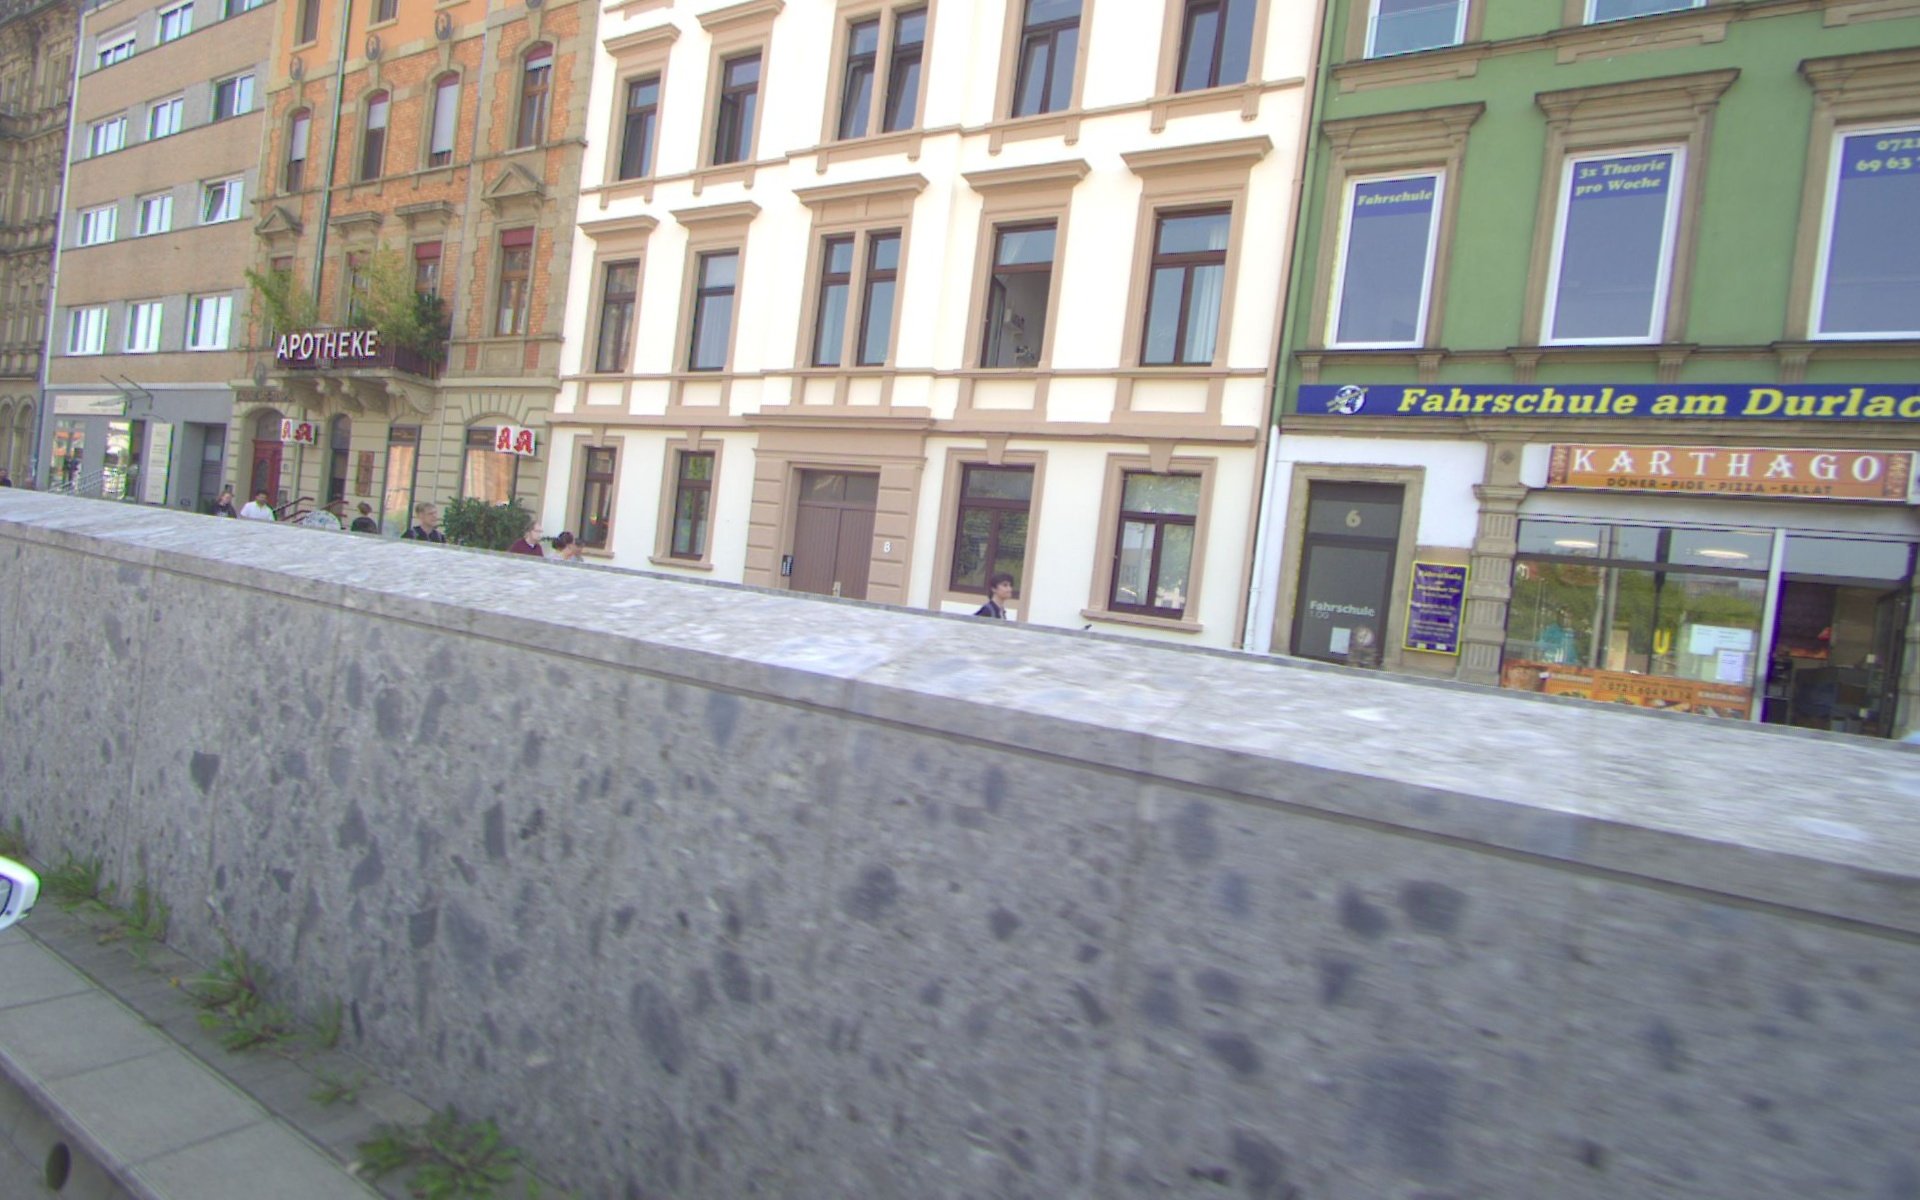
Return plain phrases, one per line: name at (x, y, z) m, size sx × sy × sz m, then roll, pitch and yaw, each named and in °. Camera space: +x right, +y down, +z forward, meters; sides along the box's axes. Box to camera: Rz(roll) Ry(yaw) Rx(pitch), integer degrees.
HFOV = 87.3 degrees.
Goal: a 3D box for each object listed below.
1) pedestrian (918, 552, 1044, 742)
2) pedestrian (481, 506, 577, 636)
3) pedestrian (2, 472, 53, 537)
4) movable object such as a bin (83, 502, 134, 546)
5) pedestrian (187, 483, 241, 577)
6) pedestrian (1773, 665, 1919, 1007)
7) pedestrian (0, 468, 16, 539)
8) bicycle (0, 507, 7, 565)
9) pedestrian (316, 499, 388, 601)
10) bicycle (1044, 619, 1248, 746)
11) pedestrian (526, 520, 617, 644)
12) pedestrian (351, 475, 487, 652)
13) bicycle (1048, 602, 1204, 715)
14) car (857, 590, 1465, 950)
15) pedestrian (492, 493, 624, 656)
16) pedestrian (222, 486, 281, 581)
pedestrian at (0.171, 0.422, 9.419) m, size 0.953 × 1.602 × 0.852 m, roll 6°, pitch 1°, yaw -3°
pedestrian at (-6.493, -0.437, 15.150) m, size 1.000 × 1.796 × 0.684 m, roll 9°, pitch 2°, yaw 30°
pedestrian at (-23.589, -2.407, 25.445) m, size 0.776 × 1.512 × 0.644 m, roll 7°, pitch 1°, yaw 30°
movable object such as a bin at (-22.828, -2.028, 26.978) m, size 0.752 × 1.061 × 0.645 m, roll 7°, pitch 1°, yaw -12°
pedestrian at (-14.869, -1.388, 20.059) m, size 0.667 × 1.774 × 0.577 m, roll 7°, pitch 3°, yaw 31°
pedestrian at (5.189, 1.265, 5.466) m, size 0.927 × 1.707 × 0.671 m, roll 8°, pitch 2°, yaw 31°
pedestrian at (-23.963, -2.427, 24.844) m, size 0.776 × 1.706 × 0.644 m, roll 7°, pitch 1°, yaw 30°
bicycle at (-12.565, -0.699, 11.657) m, size 0.375 × 1.085 × 2.126 m, roll 9°, pitch 0°, yaw 27°
pedestrian at (-11.811, -0.957, 19.561) m, size 0.674 × 1.871 × 0.842 m, roll 7°, pitch 3°, yaw 22°
bicycle at (2.330, 1.016, 12.863) m, size 2.430 × 1.161 × 0.480 m, roll 10°, pitch 2°, yaw 33°
pedestrian at (-6.131, -0.279, 15.867) m, size 1.000 × 1.796 × 0.684 m, roll 9°, pitch 2°, yaw 30°
pedestrian at (-5.878, -0.391, 10.926) m, size 0.956 × 1.752 × 0.849 m, roll 10°, pitch 4°, yaw 37°
bicycle at (2.116, 0.729, 12.924) m, size 1.816 × 1.199 × 0.459 m, roll 7°, pitch 1°, yaw 31°
car at (1.290, 0.923, 6.806) m, size 3.558 × 1.458 × 1.633 m, roll 8°, pitch 1°, yaw 31°
pedestrian at (-4.347, -0.267, 10.941) m, size 0.953 × 1.602 × 0.852 m, roll 6°, pitch 1°, yaw -3°
pedestrian at (-14.476, -1.356, 20.552) m, size 0.865 × 1.819 × 0.599 m, roll 7°, pitch 3°, yaw 31°
